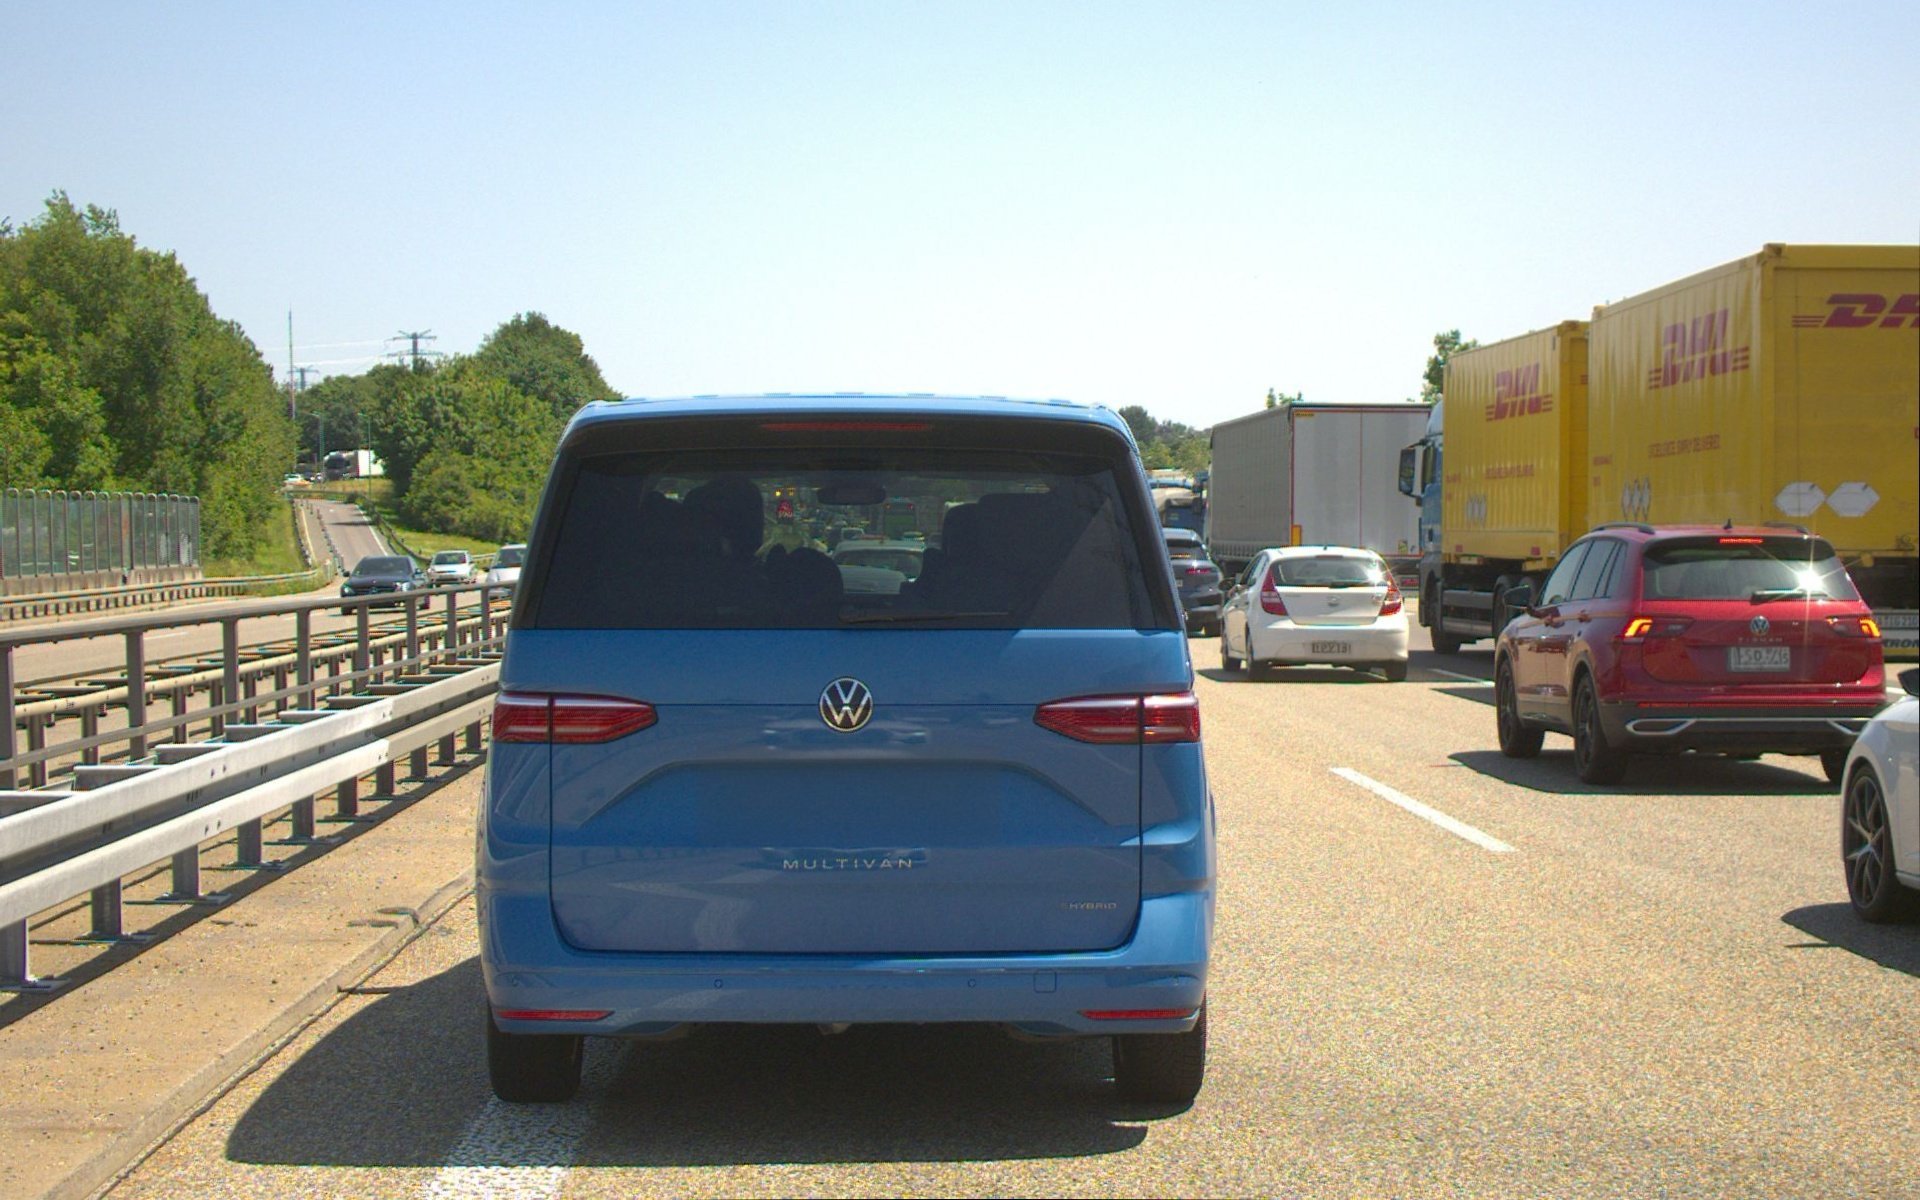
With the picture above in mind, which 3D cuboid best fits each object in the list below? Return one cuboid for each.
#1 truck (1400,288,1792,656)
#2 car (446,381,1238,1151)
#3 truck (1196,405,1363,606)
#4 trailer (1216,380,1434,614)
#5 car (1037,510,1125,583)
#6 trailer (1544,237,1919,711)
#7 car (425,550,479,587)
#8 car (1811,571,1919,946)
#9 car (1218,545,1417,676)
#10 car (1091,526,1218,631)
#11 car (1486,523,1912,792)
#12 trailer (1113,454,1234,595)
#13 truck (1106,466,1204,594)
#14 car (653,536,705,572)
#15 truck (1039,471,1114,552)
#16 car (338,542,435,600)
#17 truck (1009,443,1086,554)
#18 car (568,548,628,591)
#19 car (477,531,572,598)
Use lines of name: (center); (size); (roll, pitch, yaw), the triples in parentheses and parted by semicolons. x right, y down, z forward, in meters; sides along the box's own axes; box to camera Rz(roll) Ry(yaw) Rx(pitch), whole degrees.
truck: (7.728, -1.465, 43.369); (2.722, 4.040, 10.337); (1, 0, -1)
car: (-0.317, 0.363, 10.187); (1.882, 1.831, 4.000); (0, 1, -1)
truck: (6.799, -1.974, 74.040); (2.768, 4.081, 6.984); (1, 1, -1)
trailer: (6.938, -1.890, 67.066); (2.755, 4.132, 11.313); (1, 0, -1)
car: (2.658, -1.189, 76.133); (1.715, 1.535, 3.821); (-1, 1, -1)
trailer: (7.964, -1.099, 33.734); (2.701, 4.010, 8.931); (1, 0, -1)
car: (-19.882, -1.252, 134.714); (1.604, 1.389, 3.677); (-1, 1, -1)
car: (4.480, 0.610, 12.127); (1.781, 1.382, 4.188); (0, 1, -2)
car: (4.020, 0.078, 39.193); (1.838, 1.409, 4.000); (0, 1, 0)
car: (3.038, -0.320, 54.227); (1.715, 1.581, 3.821); (0, 0, -1)
car: (4.719, 0.303, 22.525); (1.851, 1.603, 4.000); (0, 1, -1)
trailer: (5.958, -2.078, 97.451); (2.379, 3.731, 11.189); (1, 0, -2)
truck: (5.821, -2.071, 103.395); (2.367, 3.709, 6.034); (1, 0, -2)
car: (-11.600, -1.892, 142.260); (1.842, 1.441, 4.419); (1, 0, -1)
truck: (4.846, -3.681, 144.539); (2.355, 3.207, 9.742); (1, 0, -3)
car: (-14.423, -0.730, 86.621); (1.800, 1.381, 4.263); (1, 0, -1)
truck: (4.122, -4.745, 164.099); (2.833, 5.023, 11.147); (1, 0, -3)
car: (-11.533, -0.988, 109.691); (1.583, 1.294, 3.892); (-1, 1, -1)
car: (-10.413, -0.864, 82.390); (1.840, 1.524, 3.558); (-2, 1, -1)
